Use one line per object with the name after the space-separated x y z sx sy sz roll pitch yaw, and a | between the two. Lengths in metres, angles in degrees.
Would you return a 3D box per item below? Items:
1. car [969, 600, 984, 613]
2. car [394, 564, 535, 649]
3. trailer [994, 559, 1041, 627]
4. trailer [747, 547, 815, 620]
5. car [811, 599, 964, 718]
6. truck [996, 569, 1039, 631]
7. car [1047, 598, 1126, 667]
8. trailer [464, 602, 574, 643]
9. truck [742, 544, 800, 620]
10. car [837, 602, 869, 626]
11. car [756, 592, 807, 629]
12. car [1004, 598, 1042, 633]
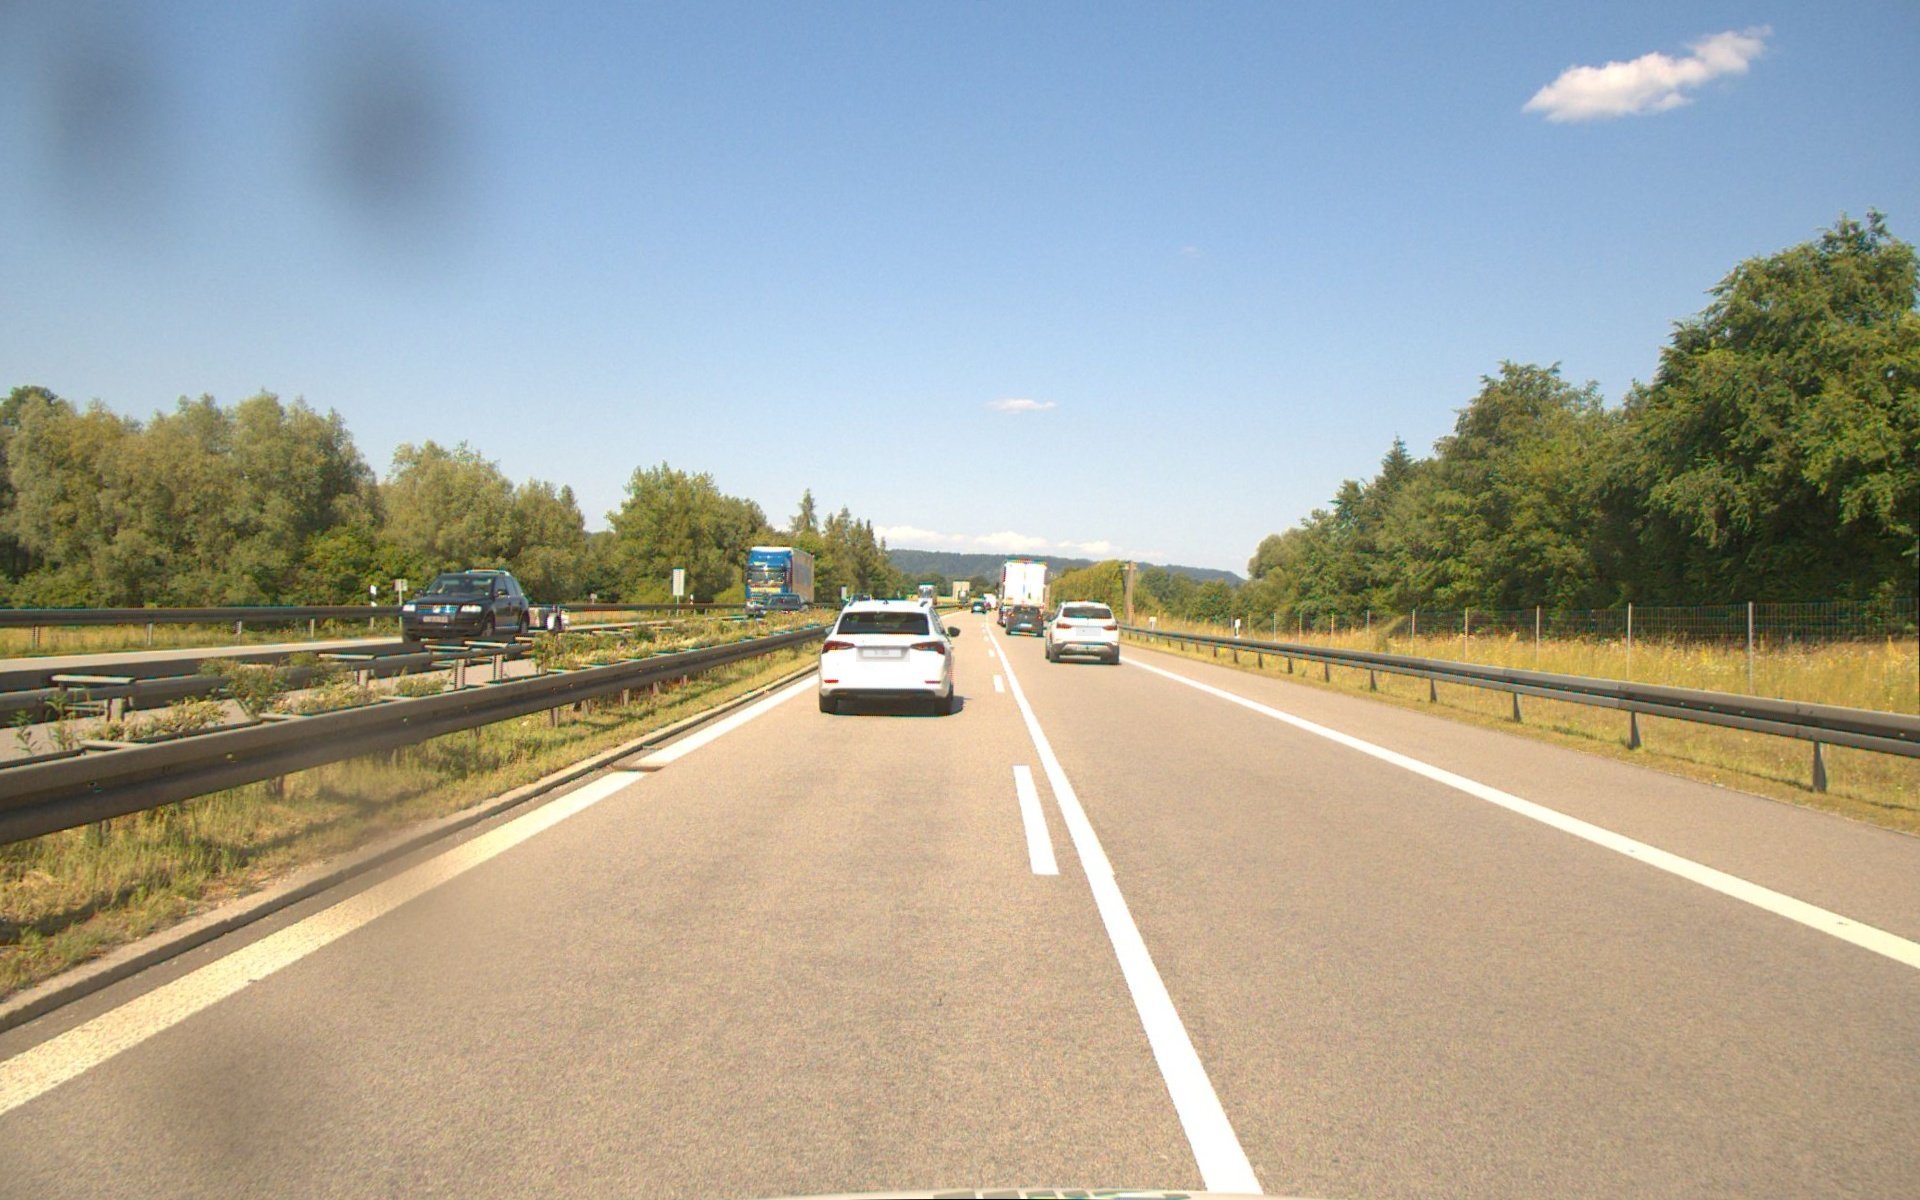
1.994 0.831 202.300 1.735 1.445 4.495 3 0 1 | car
-11.311 0.177 38.116 1.812 1.835 4.869 0 -1 -1 | car
3.663 -0.429 106.407 2.760 4.036 14.163 1 0 2 | trailer
-11.248 -0.980 105.528 2.730 4.233 14.393 1 0 0 | trailer
-0.891 0.723 23.119 1.802 1.446 5.255 1 0 1 | car
3.893 -0.019 113.171 2.782 4.036 7.045 1 0 1 | truck
3.258 0.796 43.303 1.650 1.521 4.988 4 1 1 | car
-11.294 0.563 42.592 1.706 0.953 4.020 1 0 0 | trailer
-11.238 -1.048 98.771 2.684 4.378 6.334 1 0 0 | truck
-7.490 0.969 116.345 1.953 1.694 4.633 0 0 0 | car
-7.397 0.415 68.918 1.646 1.485 4.925 -1 0 -1 | car
2.929 0.697 77.385 1.631 1.479 4.545 4 0 1 | car
